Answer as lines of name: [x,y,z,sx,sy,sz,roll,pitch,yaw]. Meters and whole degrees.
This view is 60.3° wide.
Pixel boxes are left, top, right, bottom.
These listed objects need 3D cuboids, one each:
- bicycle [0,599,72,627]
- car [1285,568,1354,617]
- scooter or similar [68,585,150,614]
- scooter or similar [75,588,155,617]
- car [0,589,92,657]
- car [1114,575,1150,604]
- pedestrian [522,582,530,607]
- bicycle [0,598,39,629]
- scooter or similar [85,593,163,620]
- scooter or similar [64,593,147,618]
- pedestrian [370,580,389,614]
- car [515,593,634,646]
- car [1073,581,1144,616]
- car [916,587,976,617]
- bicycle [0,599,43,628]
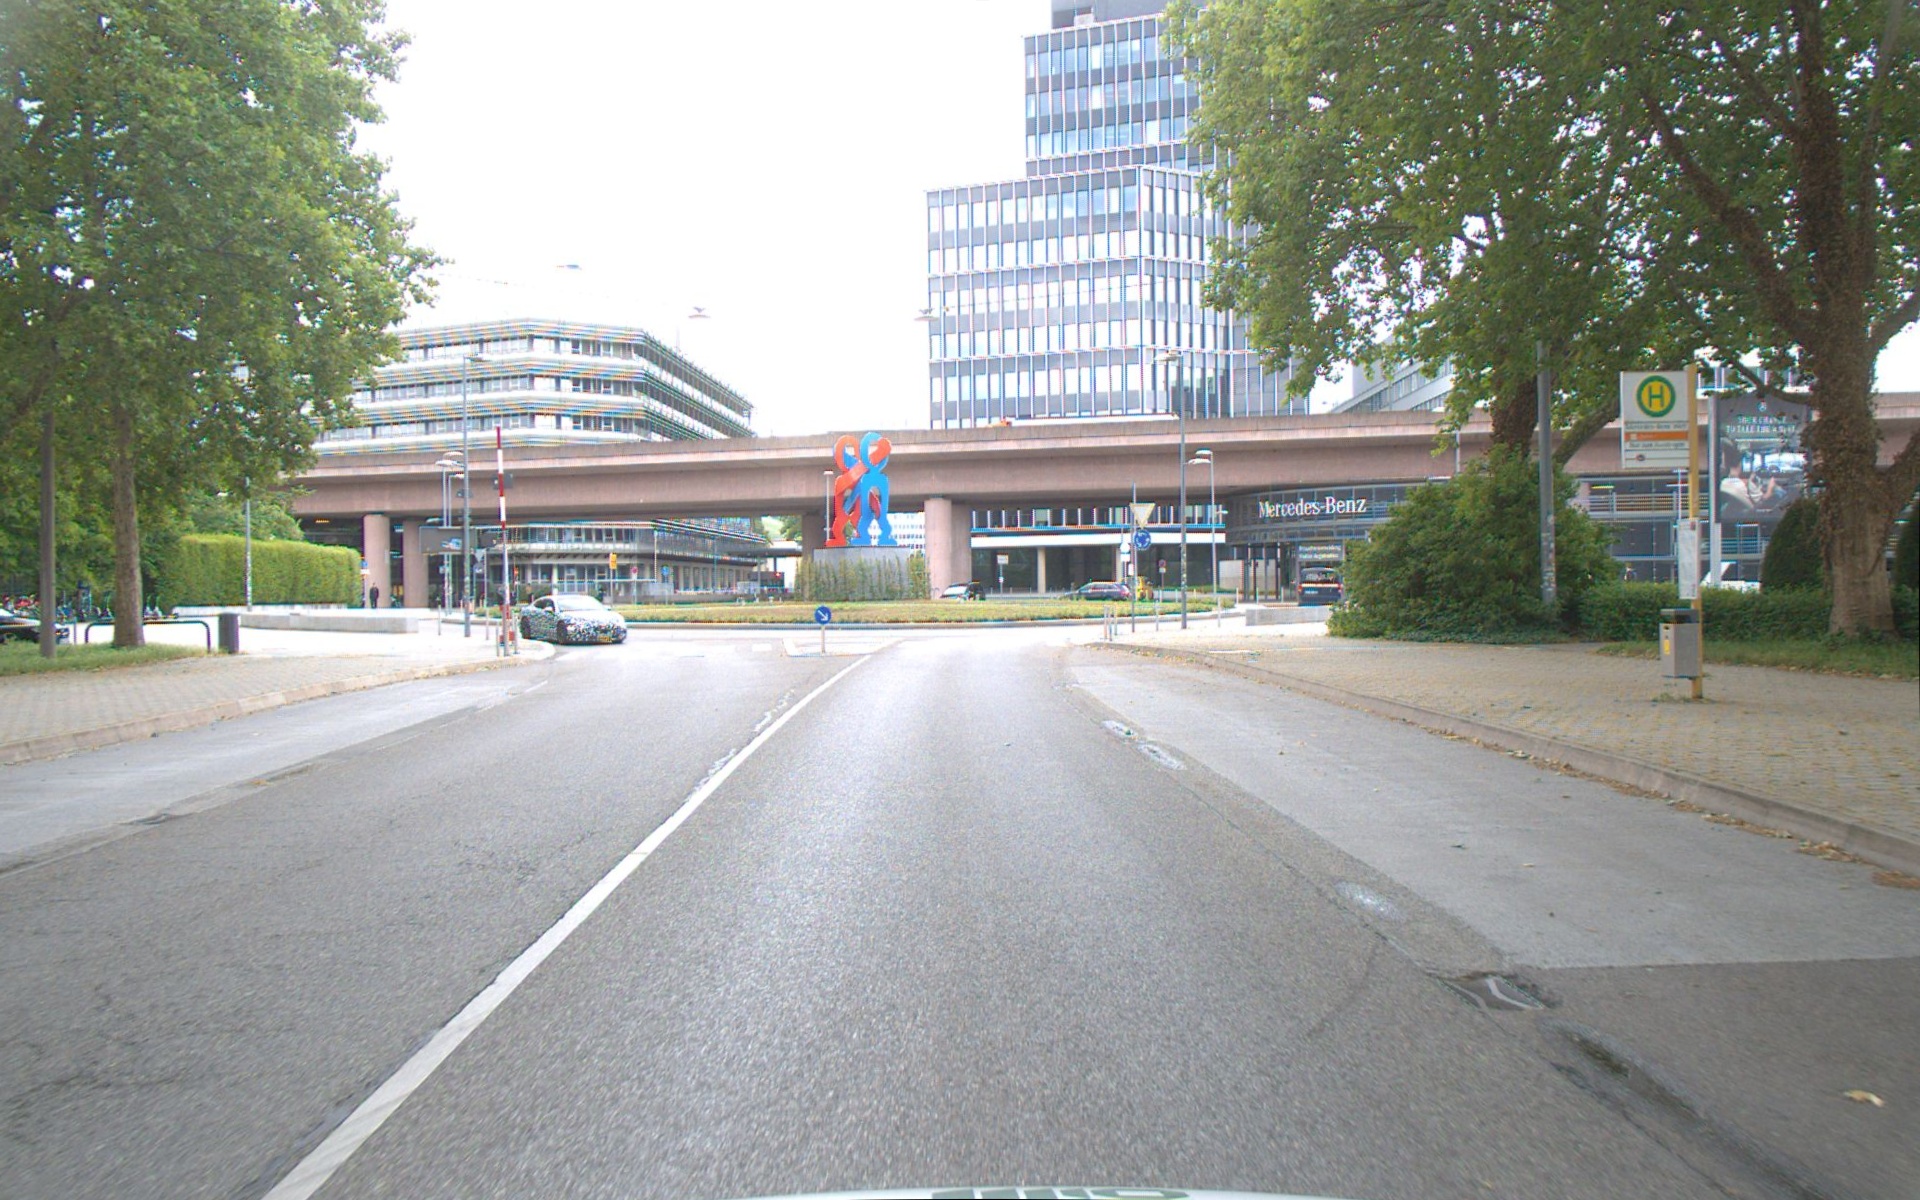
bicycle: [-37.720,0.512,66.855,3.132,1.116,0.769,0,0,-18]
car: [15.361,-0.315,70.495,2.229,2.049,4.784,0,0,21]
scooter or similar: [-37.772,-0.008,73.468,3.132,1.271,0.769,0,0,-18]
scooter or similar: [-38.056,0.100,74.551,3.132,1.271,0.769,0,0,-18]
car: [-24.050,0.577,41.027,3.915,1.633,2.226,-1,0,-11]
car: [12.587,-0.748,120.768,1.951,2.049,4.003,0,0,15]
pedestrian: [-36.206,-0.477,137.998,0.578,2.049,0.597,0,0,-13]
bicycle: [-37.079,0.552,63.237,3.132,1.116,0.769,-2,0,-18]
scooter or similar: [-38.898,0.296,76.978,3.132,1.271,0.769,0,0,-18]
scooter or similar: [-37.482,0.236,72.571,3.132,1.116,0.769,0,0,-18]
pedestrian: [-35.768,-0.193,101.937,1.025,2.049,0.597,0,0,-14]
car: [-11.906,0.582,50.889,1.886,1.478,4.754,-3,1,-35]
car: [8.245,-0.079,91.705,3.642,1.959,1.923,0,0,16]
car: [-0.869,0.107,103.041,1.957,1.803,3.991,0,0,31]
bicycle: [-37.528,0.514,64.316,3.132,1.116,0.769,0,0,-18]
